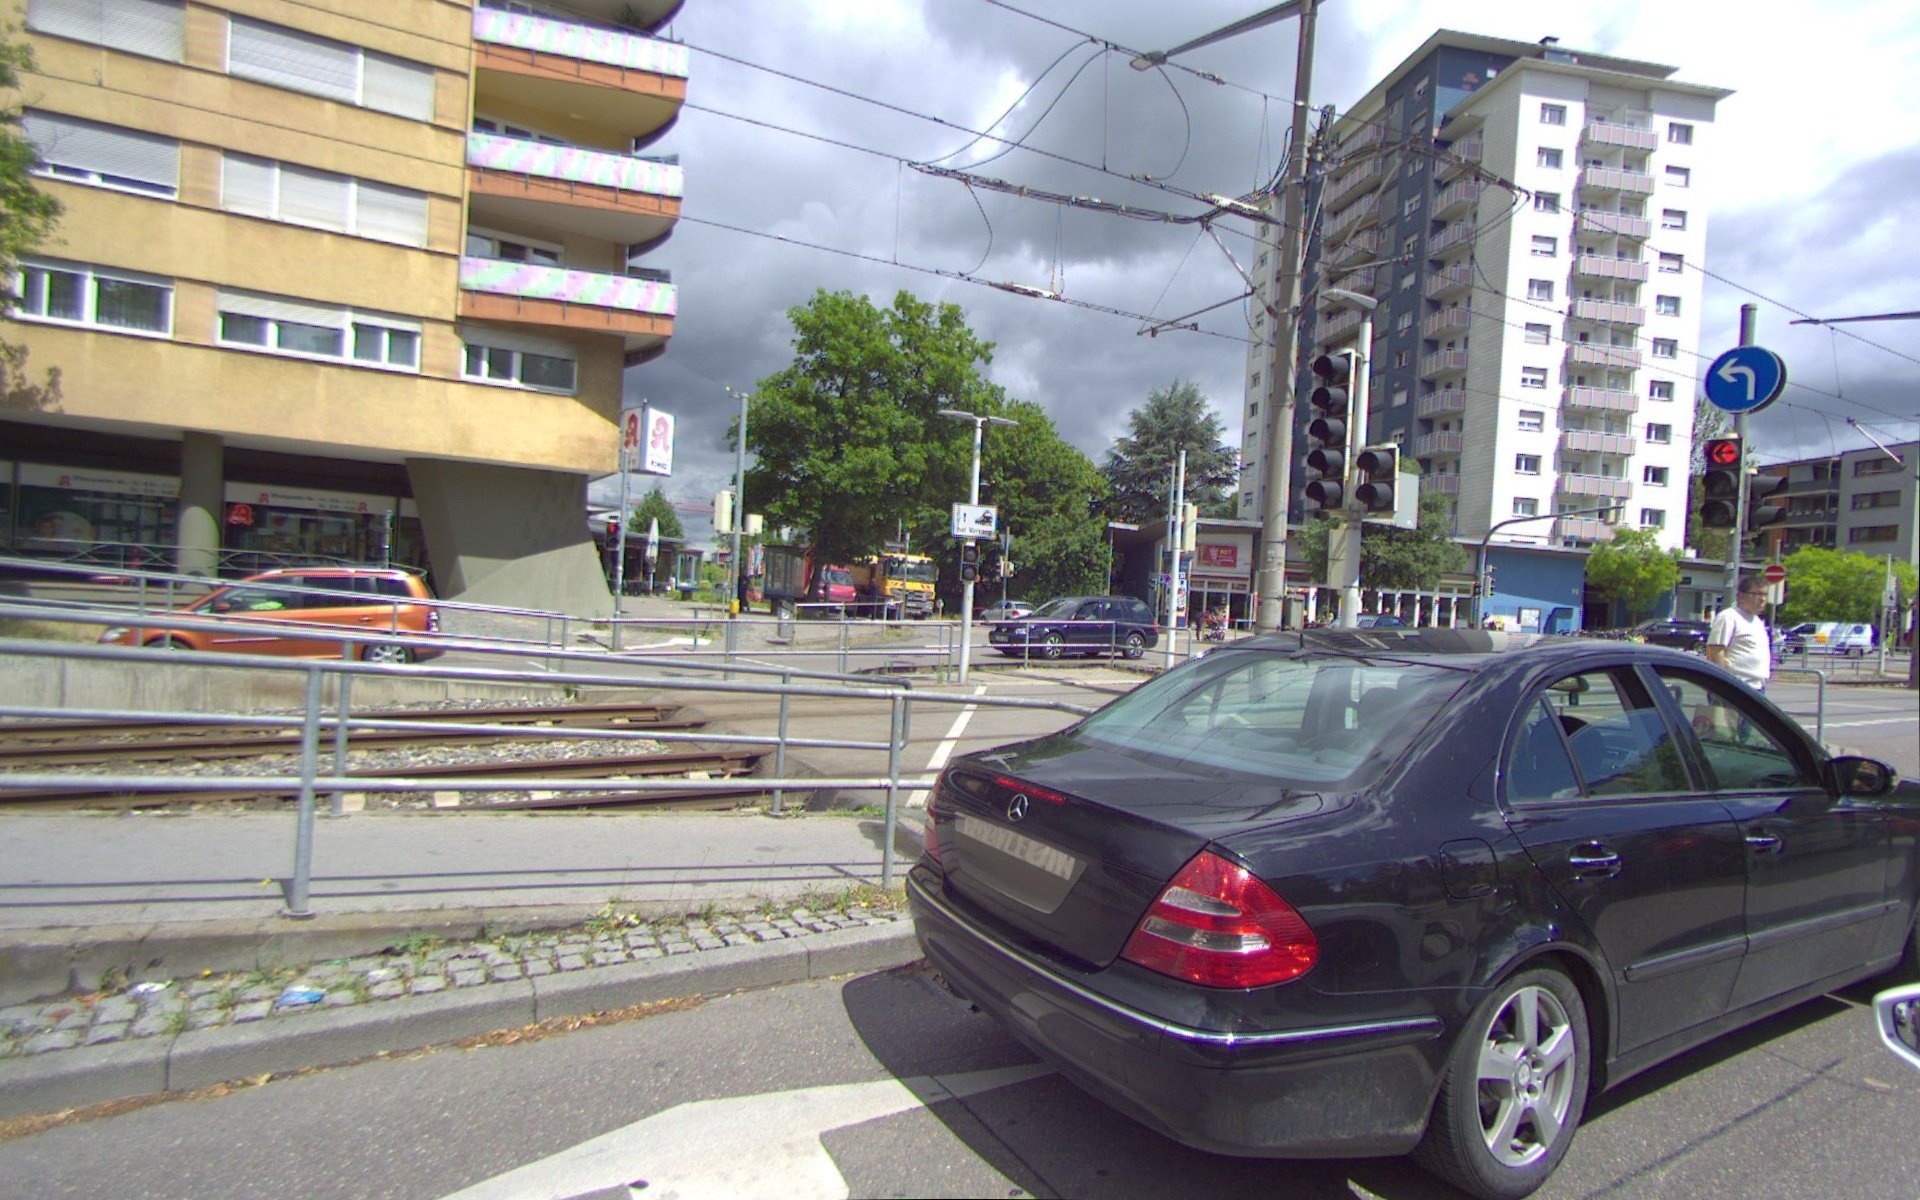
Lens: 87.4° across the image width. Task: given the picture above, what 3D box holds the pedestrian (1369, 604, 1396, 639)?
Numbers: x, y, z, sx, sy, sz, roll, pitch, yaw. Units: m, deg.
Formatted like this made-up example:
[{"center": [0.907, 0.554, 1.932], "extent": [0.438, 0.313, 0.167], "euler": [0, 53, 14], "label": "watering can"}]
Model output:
[{"center": [23.876, 1.192, 56.791], "extent": [1.203, 1.942, 0.859], "euler": [1, 1, -35], "label": "pedestrian"}]

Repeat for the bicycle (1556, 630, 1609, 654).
[{"center": [27.409, 1.851, 44.239], "extent": [0.490, 0.947, 1.934], "euler": [2, 0, -35], "label": "bicycle"}]

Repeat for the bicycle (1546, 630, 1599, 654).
[{"center": [26.611, 1.824, 43.678], "extent": [0.490, 0.947, 1.934], "euler": [2, 0, -35], "label": "bicycle"}]

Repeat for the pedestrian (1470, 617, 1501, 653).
[{"center": [25.297, 1.672, 48.332], "extent": [1.090, 1.681, 0.936], "euler": [2, -1, -40], "label": "pedestrian"}]

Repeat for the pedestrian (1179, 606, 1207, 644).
[{"center": [10.563, 1.126, 45.545], "extent": [0.977, 1.681, 0.969], "euler": [2, -1, -4], "label": "pedestrian"}]

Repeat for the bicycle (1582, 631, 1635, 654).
[{"center": [29.235, 1.913, 45.315], "extent": [0.490, 0.947, 1.934], "euler": [2, 0, -35], "label": "bicycle"}]

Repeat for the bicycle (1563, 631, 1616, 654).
[{"center": [27.872, 1.867, 44.516], "extent": [0.490, 0.947, 1.934], "euler": [2, 0, -35], "label": "bicycle"}]

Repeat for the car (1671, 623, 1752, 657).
[{"center": [40.258, 2.114, 53.949], "extent": [1.921, 1.591, 4.220], "euler": [2, 0, 13], "label": "car"}]

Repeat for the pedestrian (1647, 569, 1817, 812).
[{"center": [6.235, 0.683, 8.129], "extent": [0.734, 1.832, 0.863], "euler": [1, 1, -33], "label": "pedestrian"}]

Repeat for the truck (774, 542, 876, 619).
[{"center": [-6.748, -0.888, 48.731], "extent": [2.692, 3.320, 8.877], "euler": [1, 0, -22], "label": "truck"}]

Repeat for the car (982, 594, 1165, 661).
[{"center": [2.692, 0.601, 23.438], "extent": [4.209, 1.433, 1.619], "euler": [1, 0, -34], "label": "car"}]

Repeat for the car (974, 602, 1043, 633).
[{"center": [2.401, 0.874, 50.725], "extent": [1.677, 1.416, 3.970], "euler": [2, 0, -28], "label": "car"}]

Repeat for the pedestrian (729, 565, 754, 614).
[{"center": [-7.676, -0.376, 35.296], "extent": [0.753, 1.638, 0.776], "euler": [0, 4, -19], "label": "pedestrian"}]

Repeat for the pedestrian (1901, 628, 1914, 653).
[{"center": [66.978, 2.872, 71.009], "extent": [0.401, 1.739, 0.542], "euler": [1, 1, -39], "label": "pedestrian"}]

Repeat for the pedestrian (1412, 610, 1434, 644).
[{"center": [22.769, 1.336, 49.406], "extent": [0.693, 1.637, 0.760], "euler": [1, 1, -43], "label": "pedestrian"}]

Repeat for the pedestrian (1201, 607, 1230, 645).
[{"center": [11.622, 1.159, 45.699], "extent": [0.977, 1.681, 0.969], "euler": [2, -1, -4], "label": "pedestrian"}]

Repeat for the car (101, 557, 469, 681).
[{"center": [-10.074, 0.311, 15.421], "extent": [4.410, 1.656, 1.983], "euler": [1, -1, -31], "label": "car"}]

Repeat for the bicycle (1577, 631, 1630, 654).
[{"center": [28.830, 1.899, 45.028], "extent": [0.490, 0.947, 1.934], "euler": [2, 0, -35], "label": "bicycle"}]

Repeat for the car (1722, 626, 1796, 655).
[{"center": [45.466, 2.256, 57.257], "extent": [1.754, 1.439, 4.219], "euler": [2, 0, 16], "label": "car"}]

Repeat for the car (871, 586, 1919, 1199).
[{"center": [2.072, 0.762, 3.819], "extent": [4.490, 1.481, 1.720], "euler": [2, 0, -30], "label": "car"}]

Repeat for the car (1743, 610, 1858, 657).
[{"center": [49.798, 1.893, 59.768], "extent": [2.776, 2.512, 6.724], "euler": [2, 0, 17], "label": "car"}]

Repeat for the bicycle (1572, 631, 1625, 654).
[{"center": [28.410, 1.885, 44.734], "extent": [0.490, 0.947, 1.934], "euler": [2, 0, -35], "label": "bicycle"}]

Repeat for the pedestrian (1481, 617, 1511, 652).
[{"center": [26.178, 1.673, 49.055], "extent": [1.090, 1.681, 0.936], "euler": [2, -1, -40], "label": "pedestrian"}]

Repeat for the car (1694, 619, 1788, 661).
[{"center": [34.409, 1.766, 44.241], "extent": [3.827, 1.715, 1.928], "euler": [2, 0, -30], "label": "car"}]

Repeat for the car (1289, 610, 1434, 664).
[{"center": [11.674, 1.083, 29.103], "extent": [4.446, 1.418, 1.625], "euler": [2, 0, -33], "label": "car"}]

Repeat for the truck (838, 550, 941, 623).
[{"center": [-3.594, -0.619, 49.206], "extent": [2.733, 3.244, 7.443], "euler": [1, 0, -23], "label": "truck"}]

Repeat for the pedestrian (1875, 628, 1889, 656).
[{"center": [59.037, 2.680, 64.299], "extent": [0.663, 1.739, 0.542], "euler": [1, 1, -40], "label": "pedestrian"}]

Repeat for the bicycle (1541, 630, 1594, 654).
[{"center": [26.234, 1.811, 43.396], "extent": [0.490, 0.947, 1.934], "euler": [2, 0, -35], "label": "bicycle"}]

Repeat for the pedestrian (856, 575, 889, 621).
[{"center": [-3.315, -0.073, 38.097], "extent": [0.773, 1.636, 0.758], "euler": [6, 2, -35], "label": "pedestrian"}]

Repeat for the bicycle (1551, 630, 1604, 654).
[{"center": [27.022, 1.838, 43.967], "extent": [0.490, 0.947, 1.934], "euler": [2, 0, -35], "label": "bicycle"}]

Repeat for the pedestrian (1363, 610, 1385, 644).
[{"center": [20.273, 1.305, 49.201], "extent": [0.694, 1.637, 0.759], "euler": [1, 1, -44], "label": "pedestrian"}]
